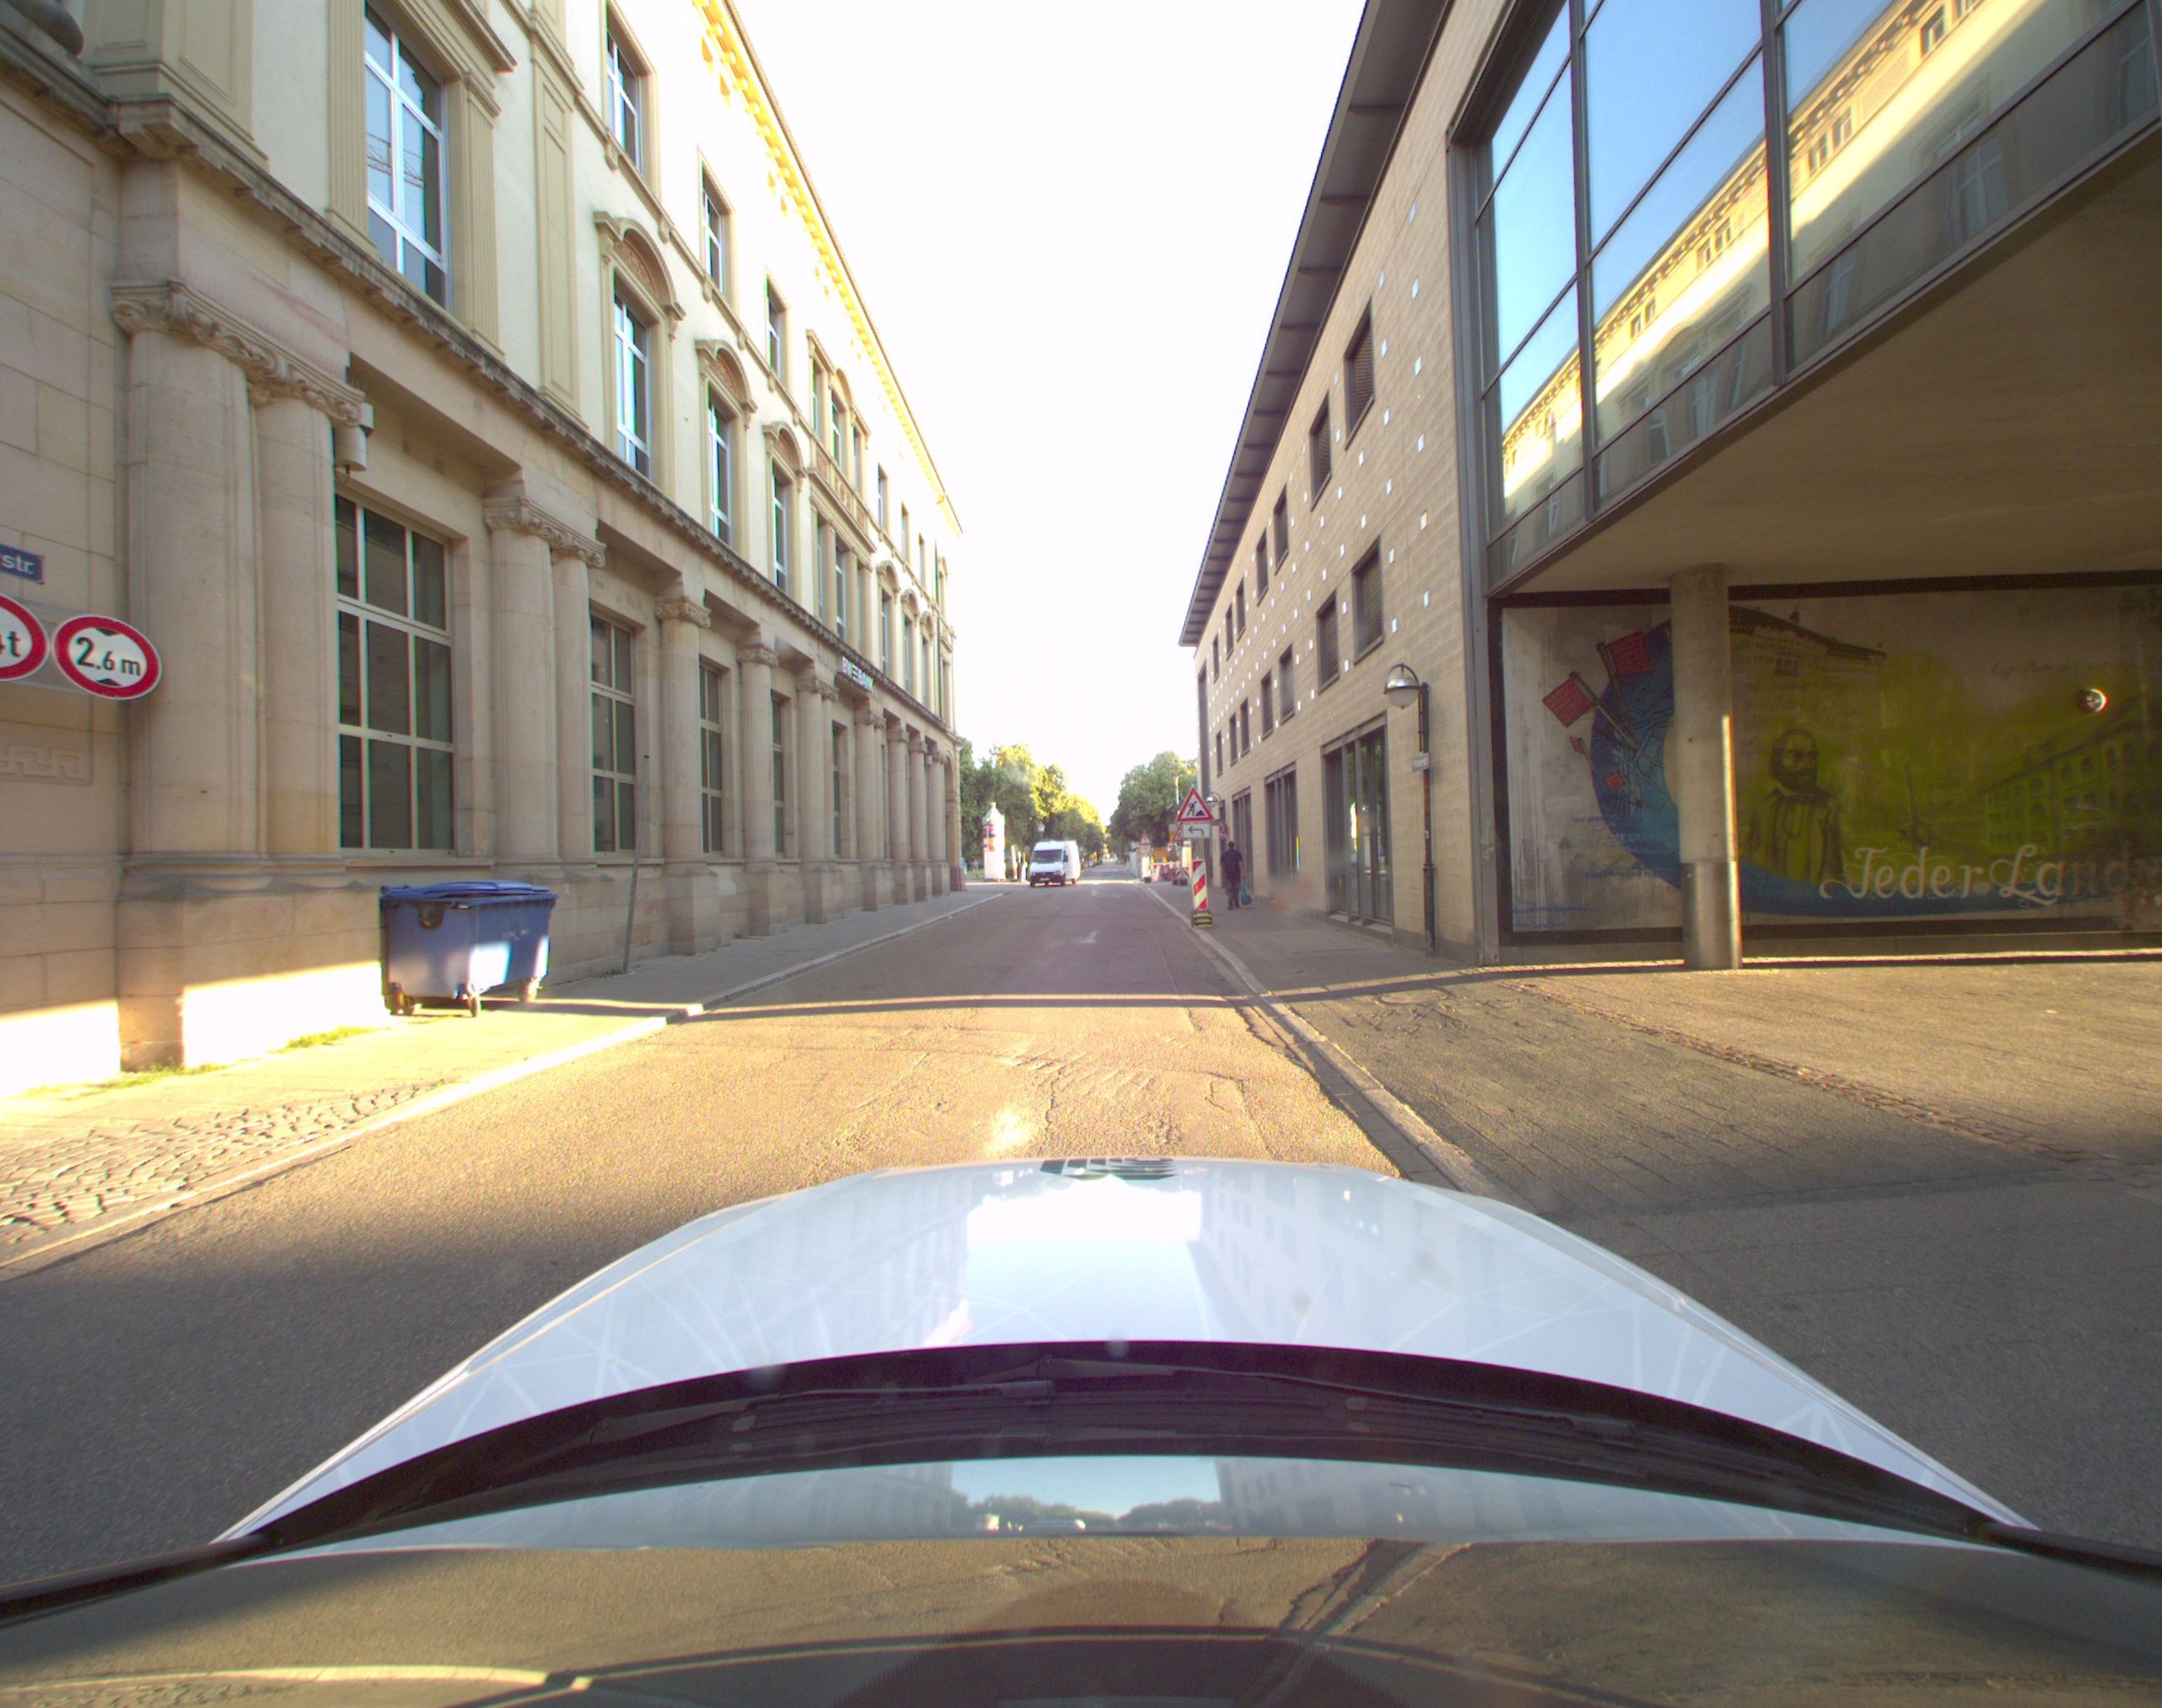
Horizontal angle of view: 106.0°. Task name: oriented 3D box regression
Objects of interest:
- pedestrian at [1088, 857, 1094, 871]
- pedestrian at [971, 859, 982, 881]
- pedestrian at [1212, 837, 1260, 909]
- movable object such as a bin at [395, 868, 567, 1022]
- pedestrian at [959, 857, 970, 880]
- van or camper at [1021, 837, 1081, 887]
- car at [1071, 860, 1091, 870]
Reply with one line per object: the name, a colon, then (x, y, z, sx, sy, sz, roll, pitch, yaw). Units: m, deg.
pedestrian: (1.431, 1.447, 115.086, 0.609, 2.014, 0.902, -1, -1, -6)
pedestrian: (-8.421, 1.282, 65.681, 0.850, 1.807, 0.661, -1, -1, -11)
pedestrian: (4.058, 0.486, 21.378, 0.997, 1.803, 0.882, -3, -1, 1)
movable object such as a bin: (-6.400, 0.919, 8.774, 0.825, 1.503, 1.292, -1, 0, 3)
pedestrian: (-9.373, 1.173, 65.493, 0.850, 1.807, 0.661, -1, -1, -11)
van or camper: (-1.597, 0.426, 46.294, 2.206, 2.585, 6.387, -2, 0, 8)
car: (-0.021, 2.167, 161.196, 3.539, 1.783, 1.795, -3, -1, 11)
